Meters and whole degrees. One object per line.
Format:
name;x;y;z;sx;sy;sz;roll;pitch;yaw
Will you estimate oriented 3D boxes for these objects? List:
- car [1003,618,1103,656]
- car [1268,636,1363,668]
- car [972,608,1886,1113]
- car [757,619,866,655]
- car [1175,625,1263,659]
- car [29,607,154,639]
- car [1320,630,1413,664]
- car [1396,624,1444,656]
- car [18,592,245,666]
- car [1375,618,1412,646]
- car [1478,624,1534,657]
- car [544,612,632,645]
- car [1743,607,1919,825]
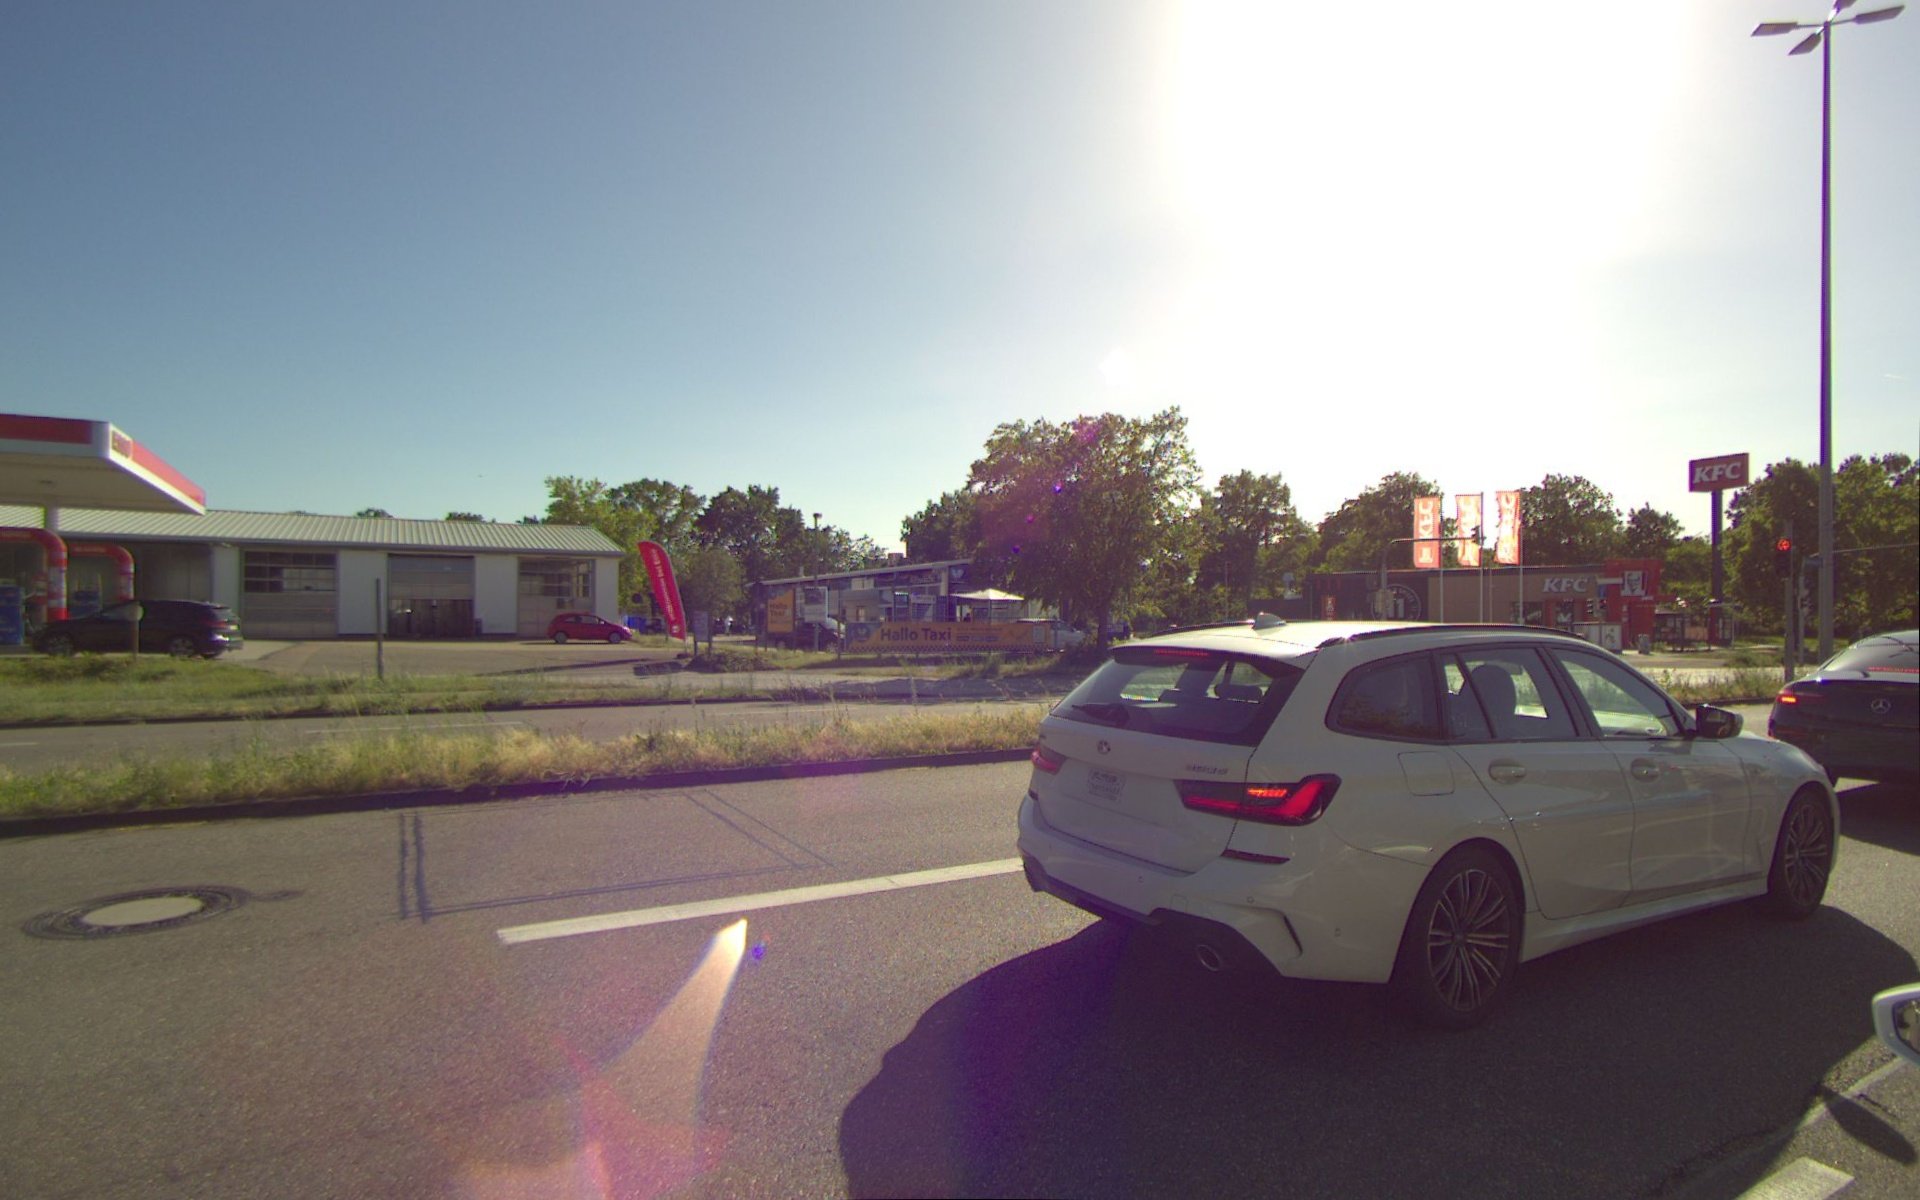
car;3.966;1.564;42.599;3.967;1.461;1.977;2;0;-40
car;17.027;2.482;48.236;1.850;1.268;4.062;2;0;-31
car;2.466;0.831;4.948;4.541;1.506;1.804;1;0;-30
car;-5.792;1.420;39.072;3.930;1.193;1.774;2;0;31
car;13.961;2.235;54.454;1.914;1.600;4.599;2;0;-31
car;-36.344;0.970;42.142;3.688;1.203;1.667;2;0;-30
car;20.119;2.332;49.888;1.913;1.472;3.936;2;0;-29
car;28.061;2.408;61.395;1.896;1.763;4.099;2;0;14
car;-21.705;0.763;26.535;4.259;1.749;1.799;2;2;-22
car;31.478;2.297;72.985;1.960;1.837;3.774;2;0;16
car;32.701;2.384;60.245;1.896;1.763;4.099;2;0;14
car;-18.268;1.382;49.349;3.949;1.491;1.521;2;0;-24
car;8.795;0.886;8.604;4.491;1.572;1.803;1;0;-31
